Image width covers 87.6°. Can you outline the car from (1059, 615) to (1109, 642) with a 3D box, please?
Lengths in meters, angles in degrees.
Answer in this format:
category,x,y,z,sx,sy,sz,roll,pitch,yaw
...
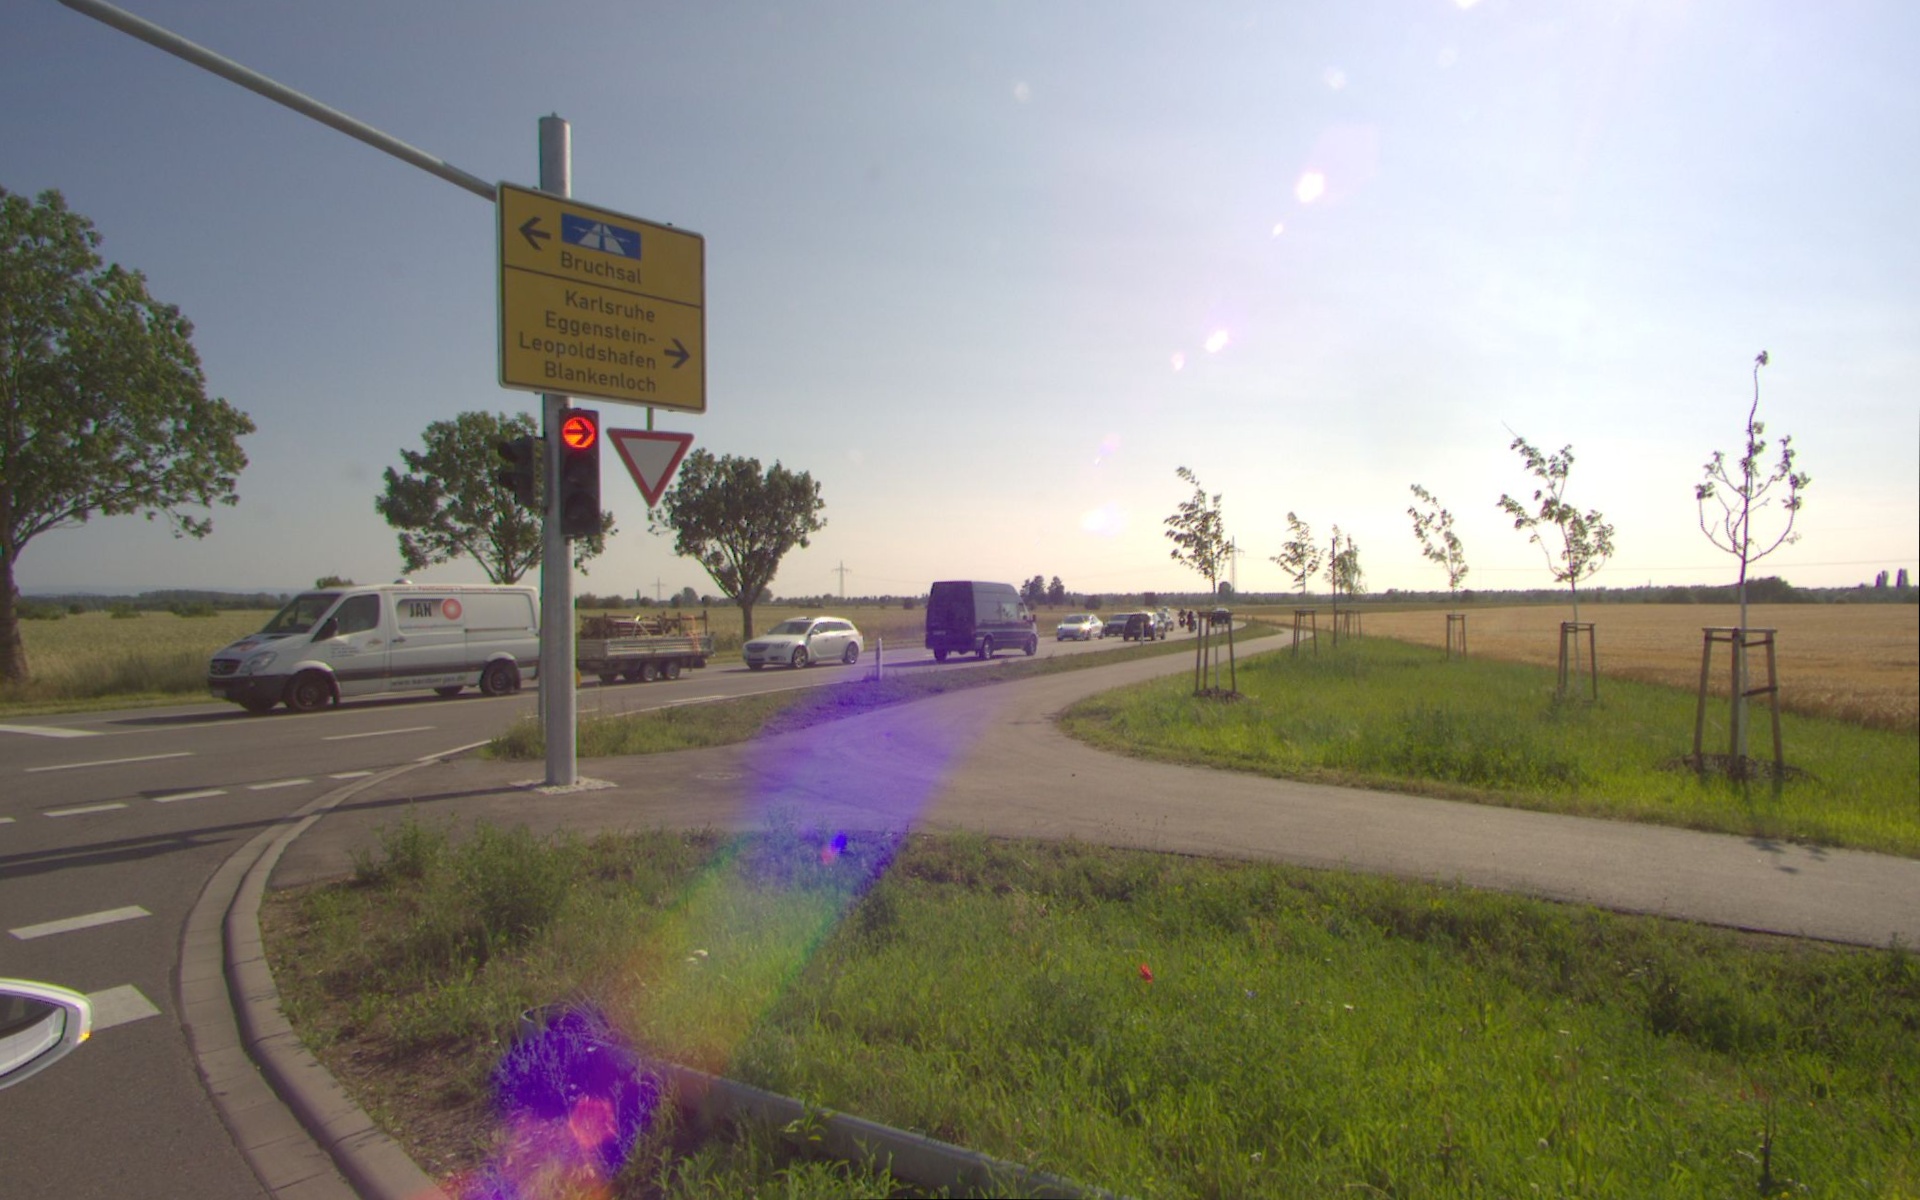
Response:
category,x,y,z,sx,sy,sz,roll,pitch,yaw
car,7.110,1.612,57.147,1.665,1.517,3.986,-1,-1,26

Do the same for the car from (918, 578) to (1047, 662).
category,x,y,z,sx,sy,sz,roll,pitch,yaw
car,0.914,0.652,34.672,2.003,2.657,5.724,0,0,30

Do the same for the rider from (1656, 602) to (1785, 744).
category,x,y,z,sx,sy,sz,roll,pitch,yaw
rider,9.375,0.868,12.368,0.973,1.665,0.820,0,1,-17

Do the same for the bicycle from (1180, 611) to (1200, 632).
category,x,y,z,sx,sy,sz,roll,pitch,yaw
bicycle,15.912,1.478,69.283,0.720,1.415,2.490,-1,0,26

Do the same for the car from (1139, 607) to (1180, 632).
category,x,y,z,sx,sy,sz,roll,pitch,yaw
car,14.930,1.488,74.799,1.968,1.712,4.871,-1,-2,25

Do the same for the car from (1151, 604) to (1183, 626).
category,x,y,z,sx,sy,sz,roll,pitch,yaw
car,18.178,1.295,87.846,1.966,1.951,3.989,0,0,23

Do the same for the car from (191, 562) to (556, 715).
category,x,y,z,sx,sy,sz,roll,pitch,yaw
car,-11.109,0.653,19.615,1.970,2.525,5.948,-2,0,30

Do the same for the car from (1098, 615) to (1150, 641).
category,x,y,z,sx,sy,sz,roll,pitch,yaw
car,10.732,1.856,65.263,1.990,1.609,4.868,-2,-2,27

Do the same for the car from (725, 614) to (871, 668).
category,x,y,z,sx,sy,sz,roll,pitch,yaw
car,-4.892,1.278,30.962,1.969,1.529,4.868,-2,-3,27

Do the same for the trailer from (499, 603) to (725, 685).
category,x,y,z,sx,sy,sz,roll,pitch,yaw
trailer,-8.307,0.983,24.486,1.925,1.776,5.254,-1,-1,30

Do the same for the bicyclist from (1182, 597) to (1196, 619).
category,x,y,z,sx,sy,sz,roll,pitch,yaw
bicyclist,15.816,0.570,69.069,0.745,1.508,0.808,-1,-2,26

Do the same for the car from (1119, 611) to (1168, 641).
category,x,y,z,sx,sy,sz,roll,pitch,yaw
car,9.721,1.329,52.884,1.700,1.476,3.727,0,1,24

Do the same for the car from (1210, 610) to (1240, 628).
category,x,y,z,sx,sy,sz,roll,pitch,yaw
car,23.721,1.695,89.494,1.889,1.539,4.675,1,0,23
